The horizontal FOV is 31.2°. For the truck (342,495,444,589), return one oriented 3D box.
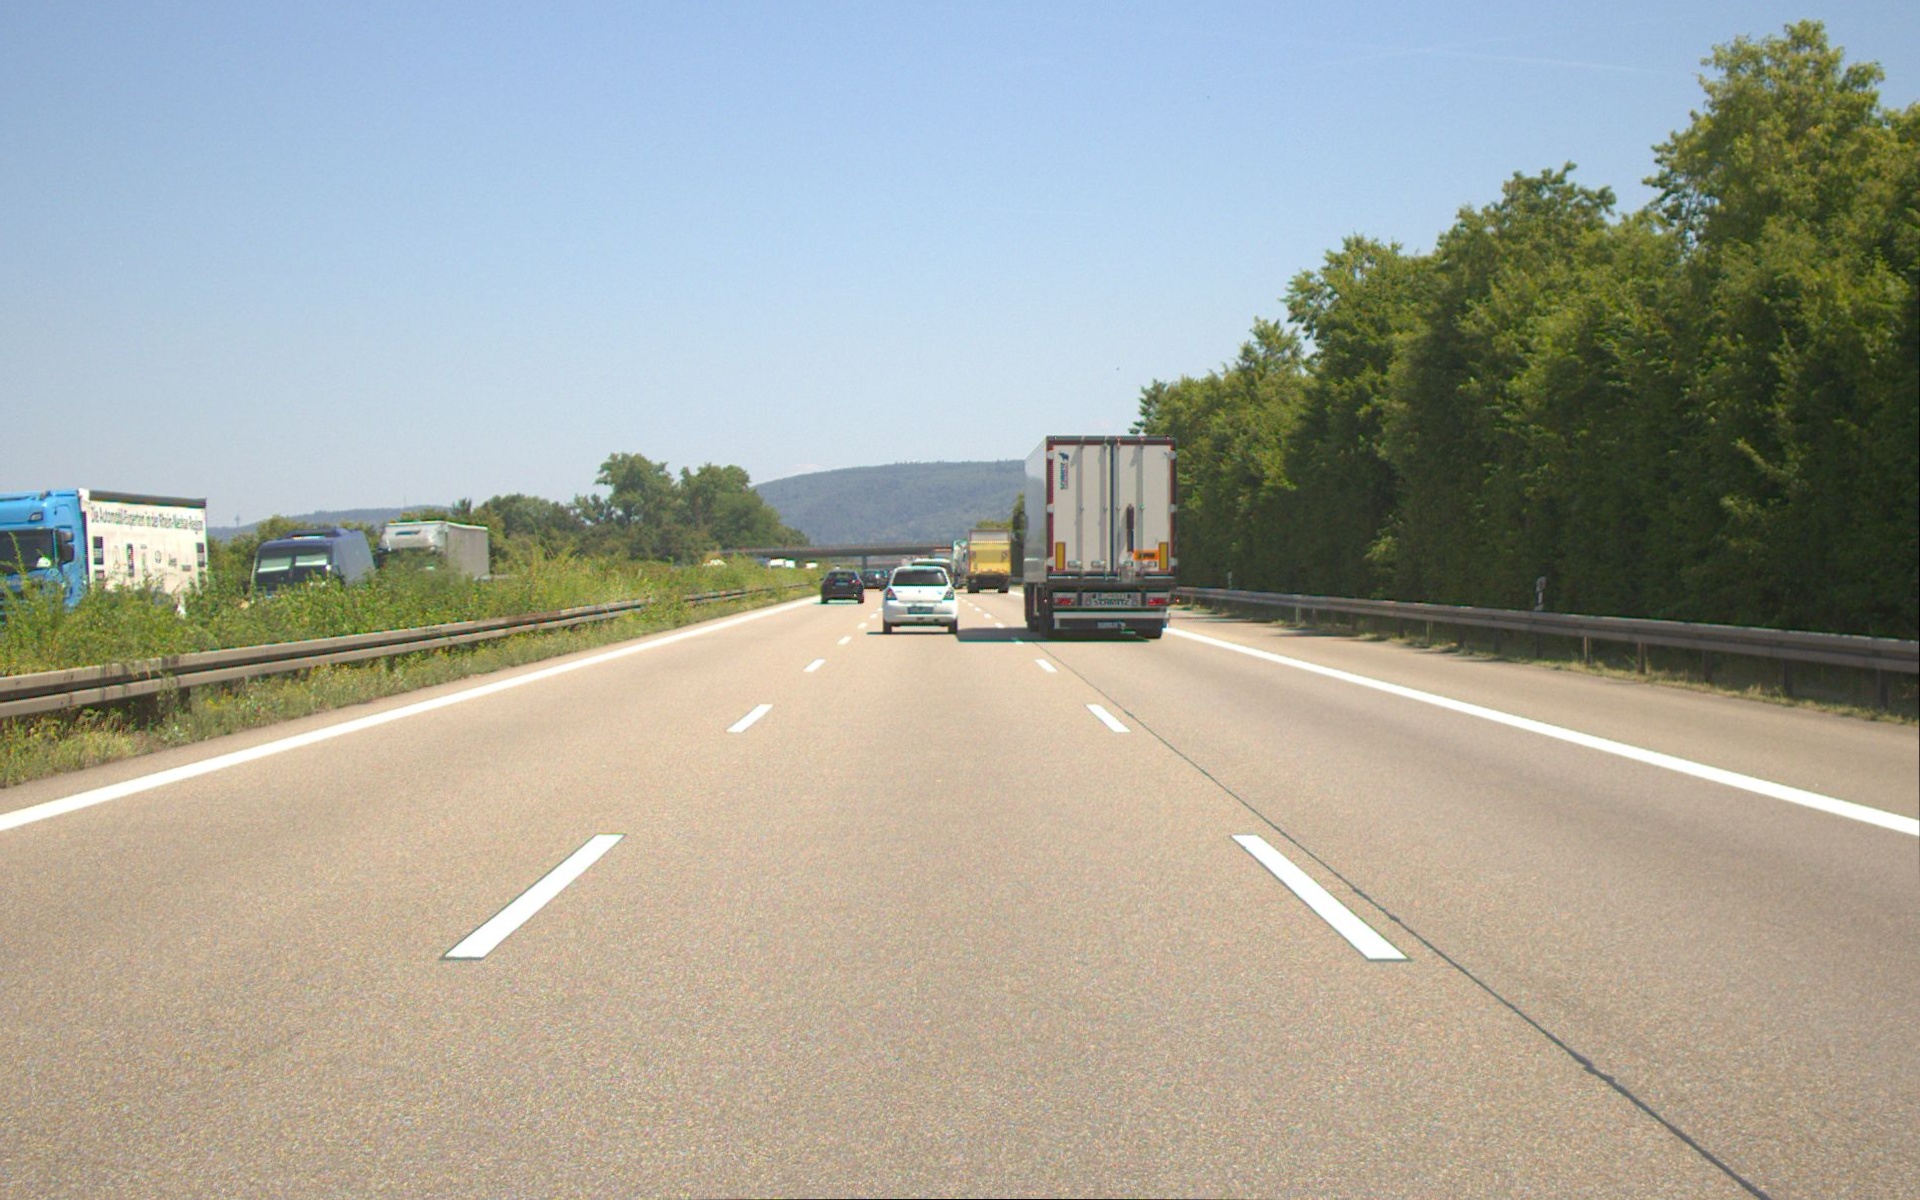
[{"bbox_3d":[-23.111,-2.359,140.481,3.349,3.686,6.065,1,1,-2],"label":"truck"}]

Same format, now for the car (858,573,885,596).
[{"bbox_3d":[-6.071,-1.073,236.484,1.795,1.545,4.000,0,0,0],"label":"car"}]

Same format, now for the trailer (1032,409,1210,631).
[{"bbox_3d":[3.314,-1.662,74.501,3.218,4.330,13.629,1,1,0],"label":"trailer"}]

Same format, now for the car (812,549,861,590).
[{"bbox_3d":[-5.238,-1.291,145.714,1.993,1.706,4.000,1,1,-1],"label":"car"}]

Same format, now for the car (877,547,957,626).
[{"bbox_3d":[-0.982,-0.326,77.534,1.732,1.678,4.000,-1,1,-1],"label":"car"}]

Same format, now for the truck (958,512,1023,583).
[{"bbox_3d":[1.860,-3.345,218.940,3.871,4.330,13.861,1,1,0],"label":"truck"}]

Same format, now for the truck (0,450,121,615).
[{"bbox_3d":[-21.687,-1.568,79.862,3.110,3.686,5.198,1,1,0],"label":"truck"}]

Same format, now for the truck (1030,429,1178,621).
[{"bbox_3d":[3.344,-1.754,81.670,3.218,4.330,6.590,1,1,0],"label":"truck"}]

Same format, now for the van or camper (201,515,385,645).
[{"bbox_3d":[-17.067,-0.557,88.752,2.610,3.091,11.512,-1,1,-1],"label":"van or camper"}]
